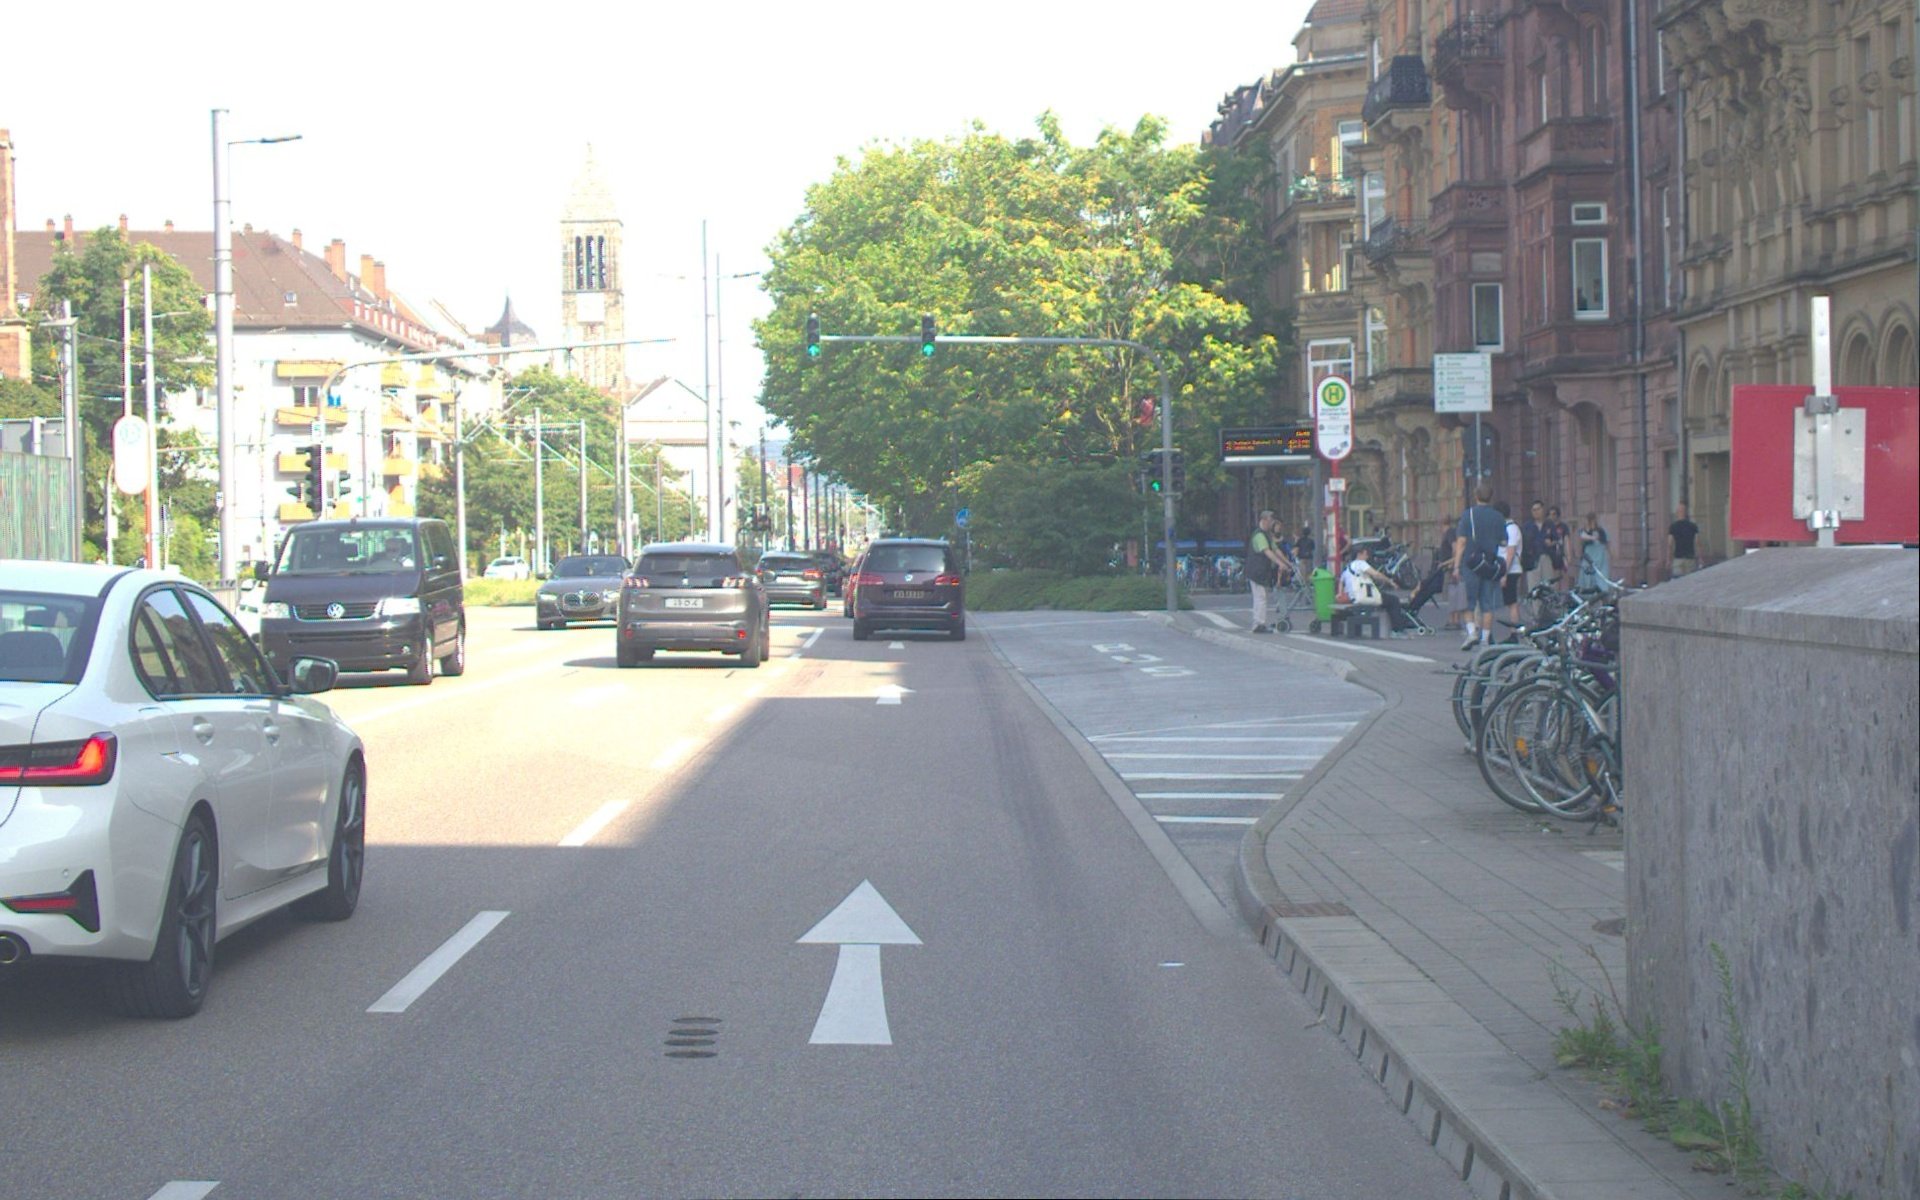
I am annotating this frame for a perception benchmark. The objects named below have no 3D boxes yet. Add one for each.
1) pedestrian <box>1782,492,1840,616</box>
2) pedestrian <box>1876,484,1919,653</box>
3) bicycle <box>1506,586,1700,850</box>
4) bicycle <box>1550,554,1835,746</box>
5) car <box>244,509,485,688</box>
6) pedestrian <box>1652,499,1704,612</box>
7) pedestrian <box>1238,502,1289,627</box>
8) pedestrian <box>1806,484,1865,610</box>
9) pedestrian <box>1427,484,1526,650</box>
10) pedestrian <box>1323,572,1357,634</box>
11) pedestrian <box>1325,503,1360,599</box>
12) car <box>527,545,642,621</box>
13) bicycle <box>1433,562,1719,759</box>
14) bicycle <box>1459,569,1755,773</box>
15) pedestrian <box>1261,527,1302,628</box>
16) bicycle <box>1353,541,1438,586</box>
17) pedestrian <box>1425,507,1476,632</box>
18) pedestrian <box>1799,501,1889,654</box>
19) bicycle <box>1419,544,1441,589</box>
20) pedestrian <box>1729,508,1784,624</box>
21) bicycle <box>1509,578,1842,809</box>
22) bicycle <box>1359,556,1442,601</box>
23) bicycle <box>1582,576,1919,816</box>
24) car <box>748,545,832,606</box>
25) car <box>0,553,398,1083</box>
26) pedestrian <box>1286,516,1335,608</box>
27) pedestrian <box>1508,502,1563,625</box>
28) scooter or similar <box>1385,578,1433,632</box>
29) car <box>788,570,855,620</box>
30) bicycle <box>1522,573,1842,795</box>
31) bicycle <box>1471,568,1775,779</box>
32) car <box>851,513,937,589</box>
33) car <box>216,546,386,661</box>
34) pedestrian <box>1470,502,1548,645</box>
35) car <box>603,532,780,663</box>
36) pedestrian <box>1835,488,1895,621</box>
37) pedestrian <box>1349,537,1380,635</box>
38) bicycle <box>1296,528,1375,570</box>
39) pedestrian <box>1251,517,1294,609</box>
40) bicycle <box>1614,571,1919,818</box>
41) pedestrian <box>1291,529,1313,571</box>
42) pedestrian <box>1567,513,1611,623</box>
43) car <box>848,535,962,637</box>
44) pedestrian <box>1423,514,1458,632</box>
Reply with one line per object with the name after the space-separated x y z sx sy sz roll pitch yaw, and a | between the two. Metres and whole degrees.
11.662 -0.634 47.137 0.603 1.686 0.587 -1 1 -4 | pedestrian
10.250 -0.344 36.641 0.720 1.781 0.856 -1 1 1 | pedestrian
2.990 0.519 16.109 0.407 1.144 1.656 -1 1 -6 | bicycle
4.539 0.303 21.370 1.633 1.144 0.601 -1 1 2 | bicycle
-6.899 -0.059 40.310 1.993 1.898 4.716 -2 1 -1 | car
11.021 -0.680 52.800 0.629 1.713 0.691 -1 1 -1 | pedestrian
4.250 -0.497 48.157 0.565 1.723 0.745 -1 1 -4 | pedestrian
11.816 -0.718 46.408 0.603 1.686 0.587 -1 1 -4 | pedestrian
5.807 -0.374 38.665 0.925 1.825 0.801 -1 1 -4 | pedestrian
5.100 0.039 46.179 0.303 0.817 0.604 -1 1 -8 | pedestrian
6.896 -0.884 61.946 0.481 1.696 0.703 -1 1 -4 | pedestrian
-7.112 -0.353 65.526 1.713 1.326 4.521 -2 1 -1 | car
3.720 0.358 20.790 1.632 1.144 0.385 -1 1 -5 | bicycle
3.780 0.408 20.111 1.632 1.144 0.385 -1 1 -5 | bicycle
5.182 -0.367 55.380 0.528 1.606 0.703 -1 1 -4 | pedestrian
10.460 -0.879 82.571 1.927 1.044 0.500 -1 1 -6 | bicycle
6.842 -0.432 47.989 0.565 1.723 0.617 -1 1 -4 | pedestrian
9.426 -0.247 36.679 0.720 1.605 0.856 -1 1 1 | pedestrian
11.060 -0.794 80.936 0.416 1.044 1.670 -1 1 5 | bicycle
11.401 -0.489 49.198 0.603 1.649 0.587 -1 1 -4 | pedestrian
3.708 0.477 17.844 1.632 1.144 0.385 -1 1 -5 | bicycle
10.681 -0.530 83.351 1.927 1.044 0.500 -1 1 -6 | bicycle
3.985 0.474 17.257 1.632 1.144 0.385 -1 1 -5 | bicycle
-4.152 -0.626 84.466 1.864 1.419 4.357 0 1 0 | car
-3.313 0.584 12.135 1.809 1.422 4.775 1 1 1 | car
4.900 -0.534 48.099 0.565 1.273 0.597 -1 1 -4 | pedestrian
8.495 -0.541 50.765 0.617 1.798 1.071 -1 1 1 | pedestrian
6.262 0.069 47.957 0.565 0.739 0.514 -1 1 -4 | scooter or similar
-4.209 -0.163 104.986 1.864 1.419 4.357 0 1 0 | car
3.897 0.448 18.581 1.632 1.144 0.385 -1 1 -5 | bicycle
3.763 0.409 19.527 1.632 1.144 0.385 -1 1 -5 | bicycle
-1.421 -1.088 75.476 1.831 1.615 4.357 0 1 0 | car
-9.953 0.014 52.241 1.713 1.606 4.505 -2 1 -1 | car
6.714 -0.326 42.061 0.749 1.723 0.801 -1 1 -4 | pedestrian
-3.469 -0.068 45.138 1.993 1.615 4.357 0 1 0 | car
11.934 -0.604 45.335 0.603 1.725 0.511 -1 1 -4 | pedestrian
5.283 -0.189 44.917 0.275 1.270 0.448 -1 1 -7 | pedestrian
9.629 -1.305 88.150 1.927 1.044 0.527 -1 1 -6 | bicycle
5.686 -0.674 62.624 0.690 1.658 0.619 -1 1 0 | pedestrian
4.040 0.450 16.708 1.632 1.144 0.385 -1 1 -5 | bicycle
10.467 -1.533 105.302 0.597 1.244 0.507 -1 1 -1 | pedestrian
9.309 -0.474 50.870 0.486 1.605 0.813 -1 1 1 | pedestrian
-0.904 -0.265 57.795 1.831 1.615 4.357 0 1 0 | car
7.138 -0.406 51.097 0.341 1.726 0.806 -1 1 -4 | pedestrian
